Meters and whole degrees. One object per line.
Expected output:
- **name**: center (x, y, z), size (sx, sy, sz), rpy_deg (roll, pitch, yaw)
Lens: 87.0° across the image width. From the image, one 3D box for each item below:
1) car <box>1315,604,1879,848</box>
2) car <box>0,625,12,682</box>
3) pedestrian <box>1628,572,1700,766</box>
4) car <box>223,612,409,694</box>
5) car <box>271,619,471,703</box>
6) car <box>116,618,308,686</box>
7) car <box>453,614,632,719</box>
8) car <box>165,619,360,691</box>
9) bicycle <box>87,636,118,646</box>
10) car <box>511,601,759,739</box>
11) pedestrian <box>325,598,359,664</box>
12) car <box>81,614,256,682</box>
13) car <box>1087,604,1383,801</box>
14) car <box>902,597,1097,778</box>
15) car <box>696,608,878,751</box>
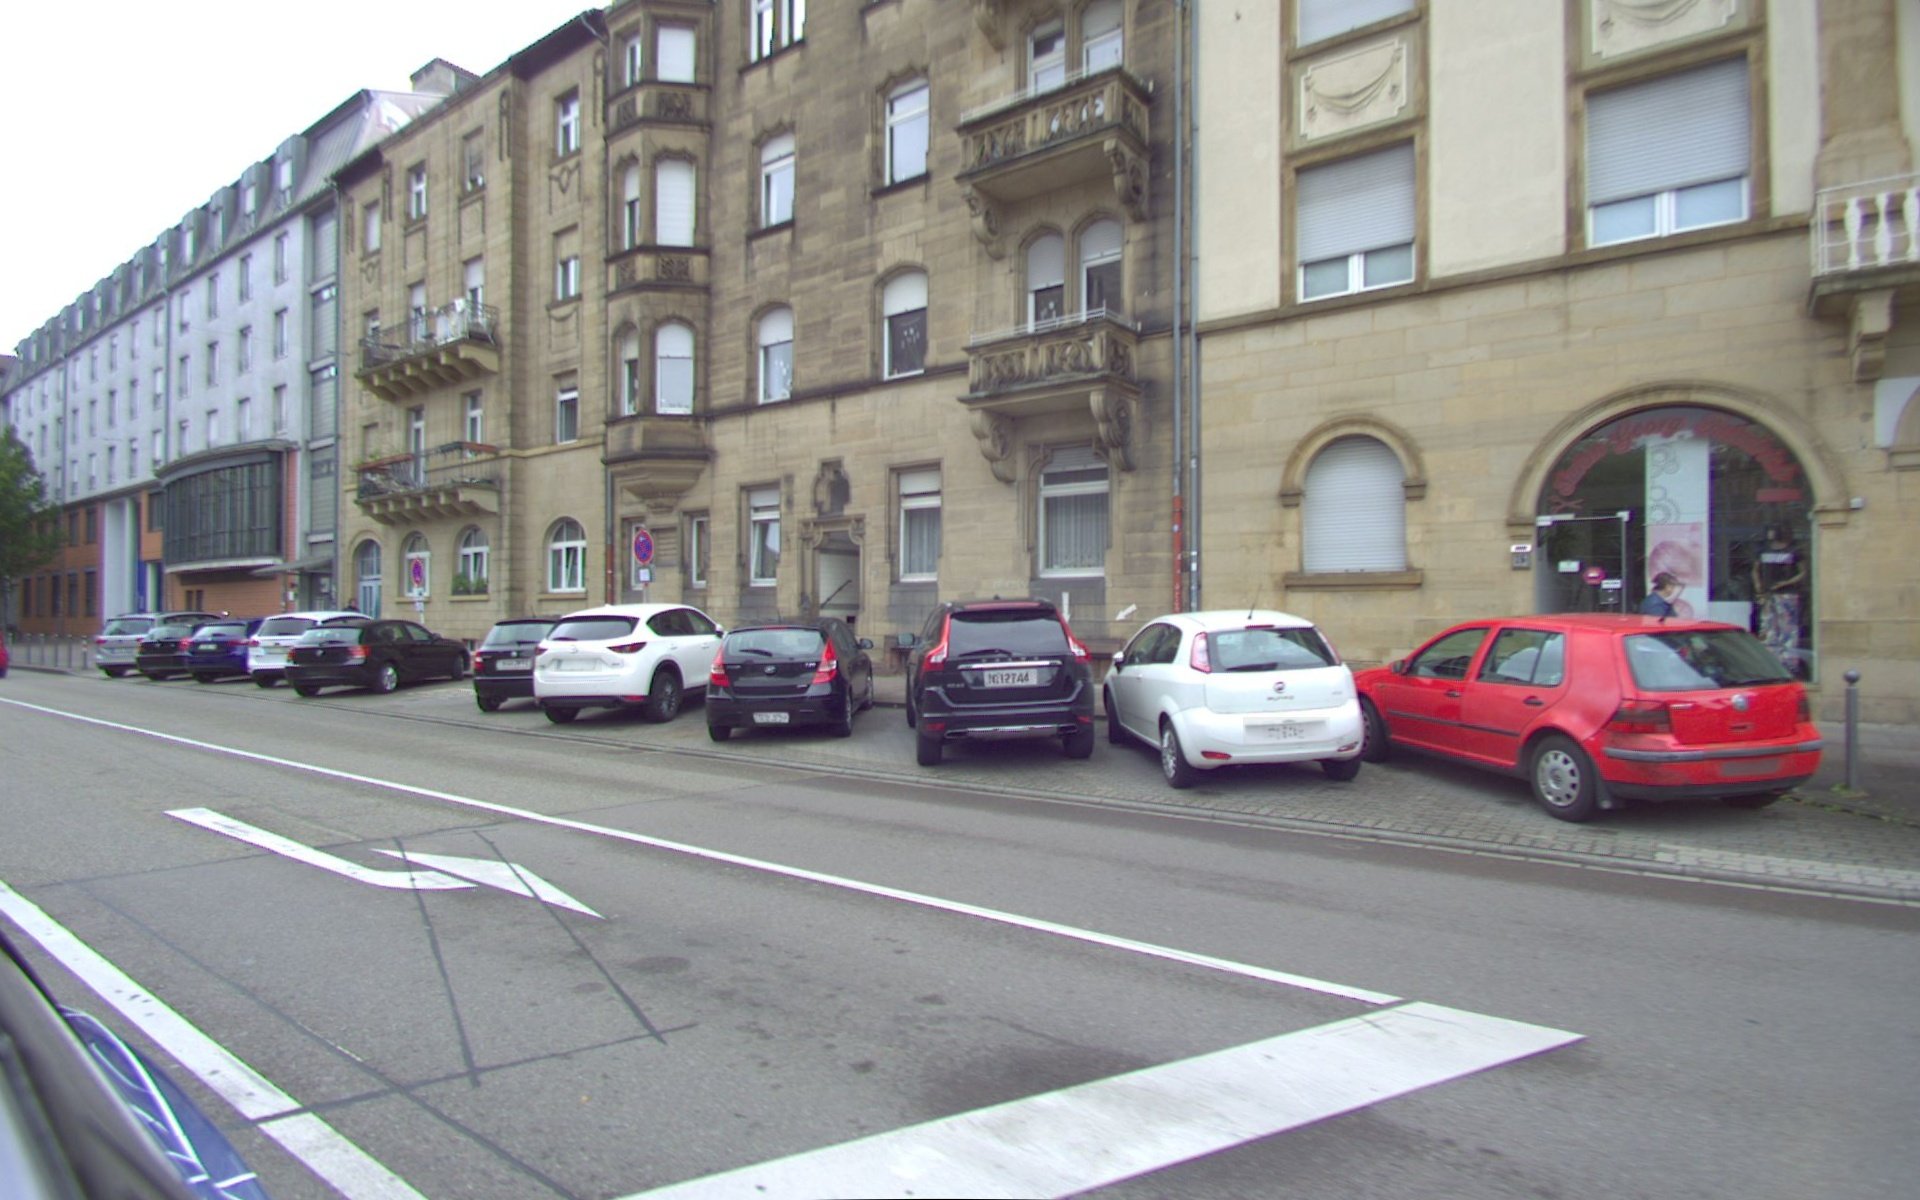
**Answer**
- **car**: center (4.811, 0.799, 8.452), size (1.656, 1.483, 4.009), rpy_deg (-1, 0, -11)
- **car**: center (-26.364, 1.389, 26.332), size (3.499, 1.458, 1.636), rpy_deg (-1, -2, 32)
- **pedestrian**: center (7.451, 0.712, 10.712), size (0.550, 1.973, 0.613), rpy_deg (-1, -2, 39)
- **car**: center (-14.369, 1.109, 22.878), size (1.679, 1.565, 4.000), rpy_deg (-1, 1, -1)
- **car**: center (-11.728, 1.150, 20.479), size (1.639, 1.428, 3.998), rpy_deg (0, 1, 2)
- **car**: center (-18.855, 1.254, 25.751), size (1.712, 1.449, 3.994), rpy_deg (-1, 1, 5)
- **car**: center (-6.961, 1.044, 17.288), size (1.547, 1.508, 3.813), rpy_deg (0, 0, -1)
- **car**: center (-16.568, 1.252, 24.274), size (1.802, 1.456, 3.741), rpy_deg (-1, 1, 7)
- **bicycle**: center (-39.916, 1.917, 47.118), size (0.527, 0.440, 0.998), rpy_deg (1, -1, 39)
- **car**: center (-4.749, 0.932, 15.454), size (1.823, 1.736, 3.984), rpy_deg (0, 1, 13)
- **pedestrian**: center (-17.527, 0.886, 28.709), size (0.641, 1.837, 0.614), rpy_deg (-1, -2, 38)
- **car**: center (-21.341, 1.232, 27.511), size (1.708, 1.565, 4.002), rpy_deg (-1, 1, -2)
- **car**: center (2.464, 0.823, 10.104), size (1.541, 1.483, 4.005), rpy_deg (-1, 1, -5)
- **car**: center (0.251, 0.824, 11.498), size (1.705, 1.664, 4.230), rpy_deg (0, -1, -5)
- **car**: center (-2.149, 0.930, 13.603), size (1.707, 1.506, 3.999), rpy_deg (-2, 1, 0)
